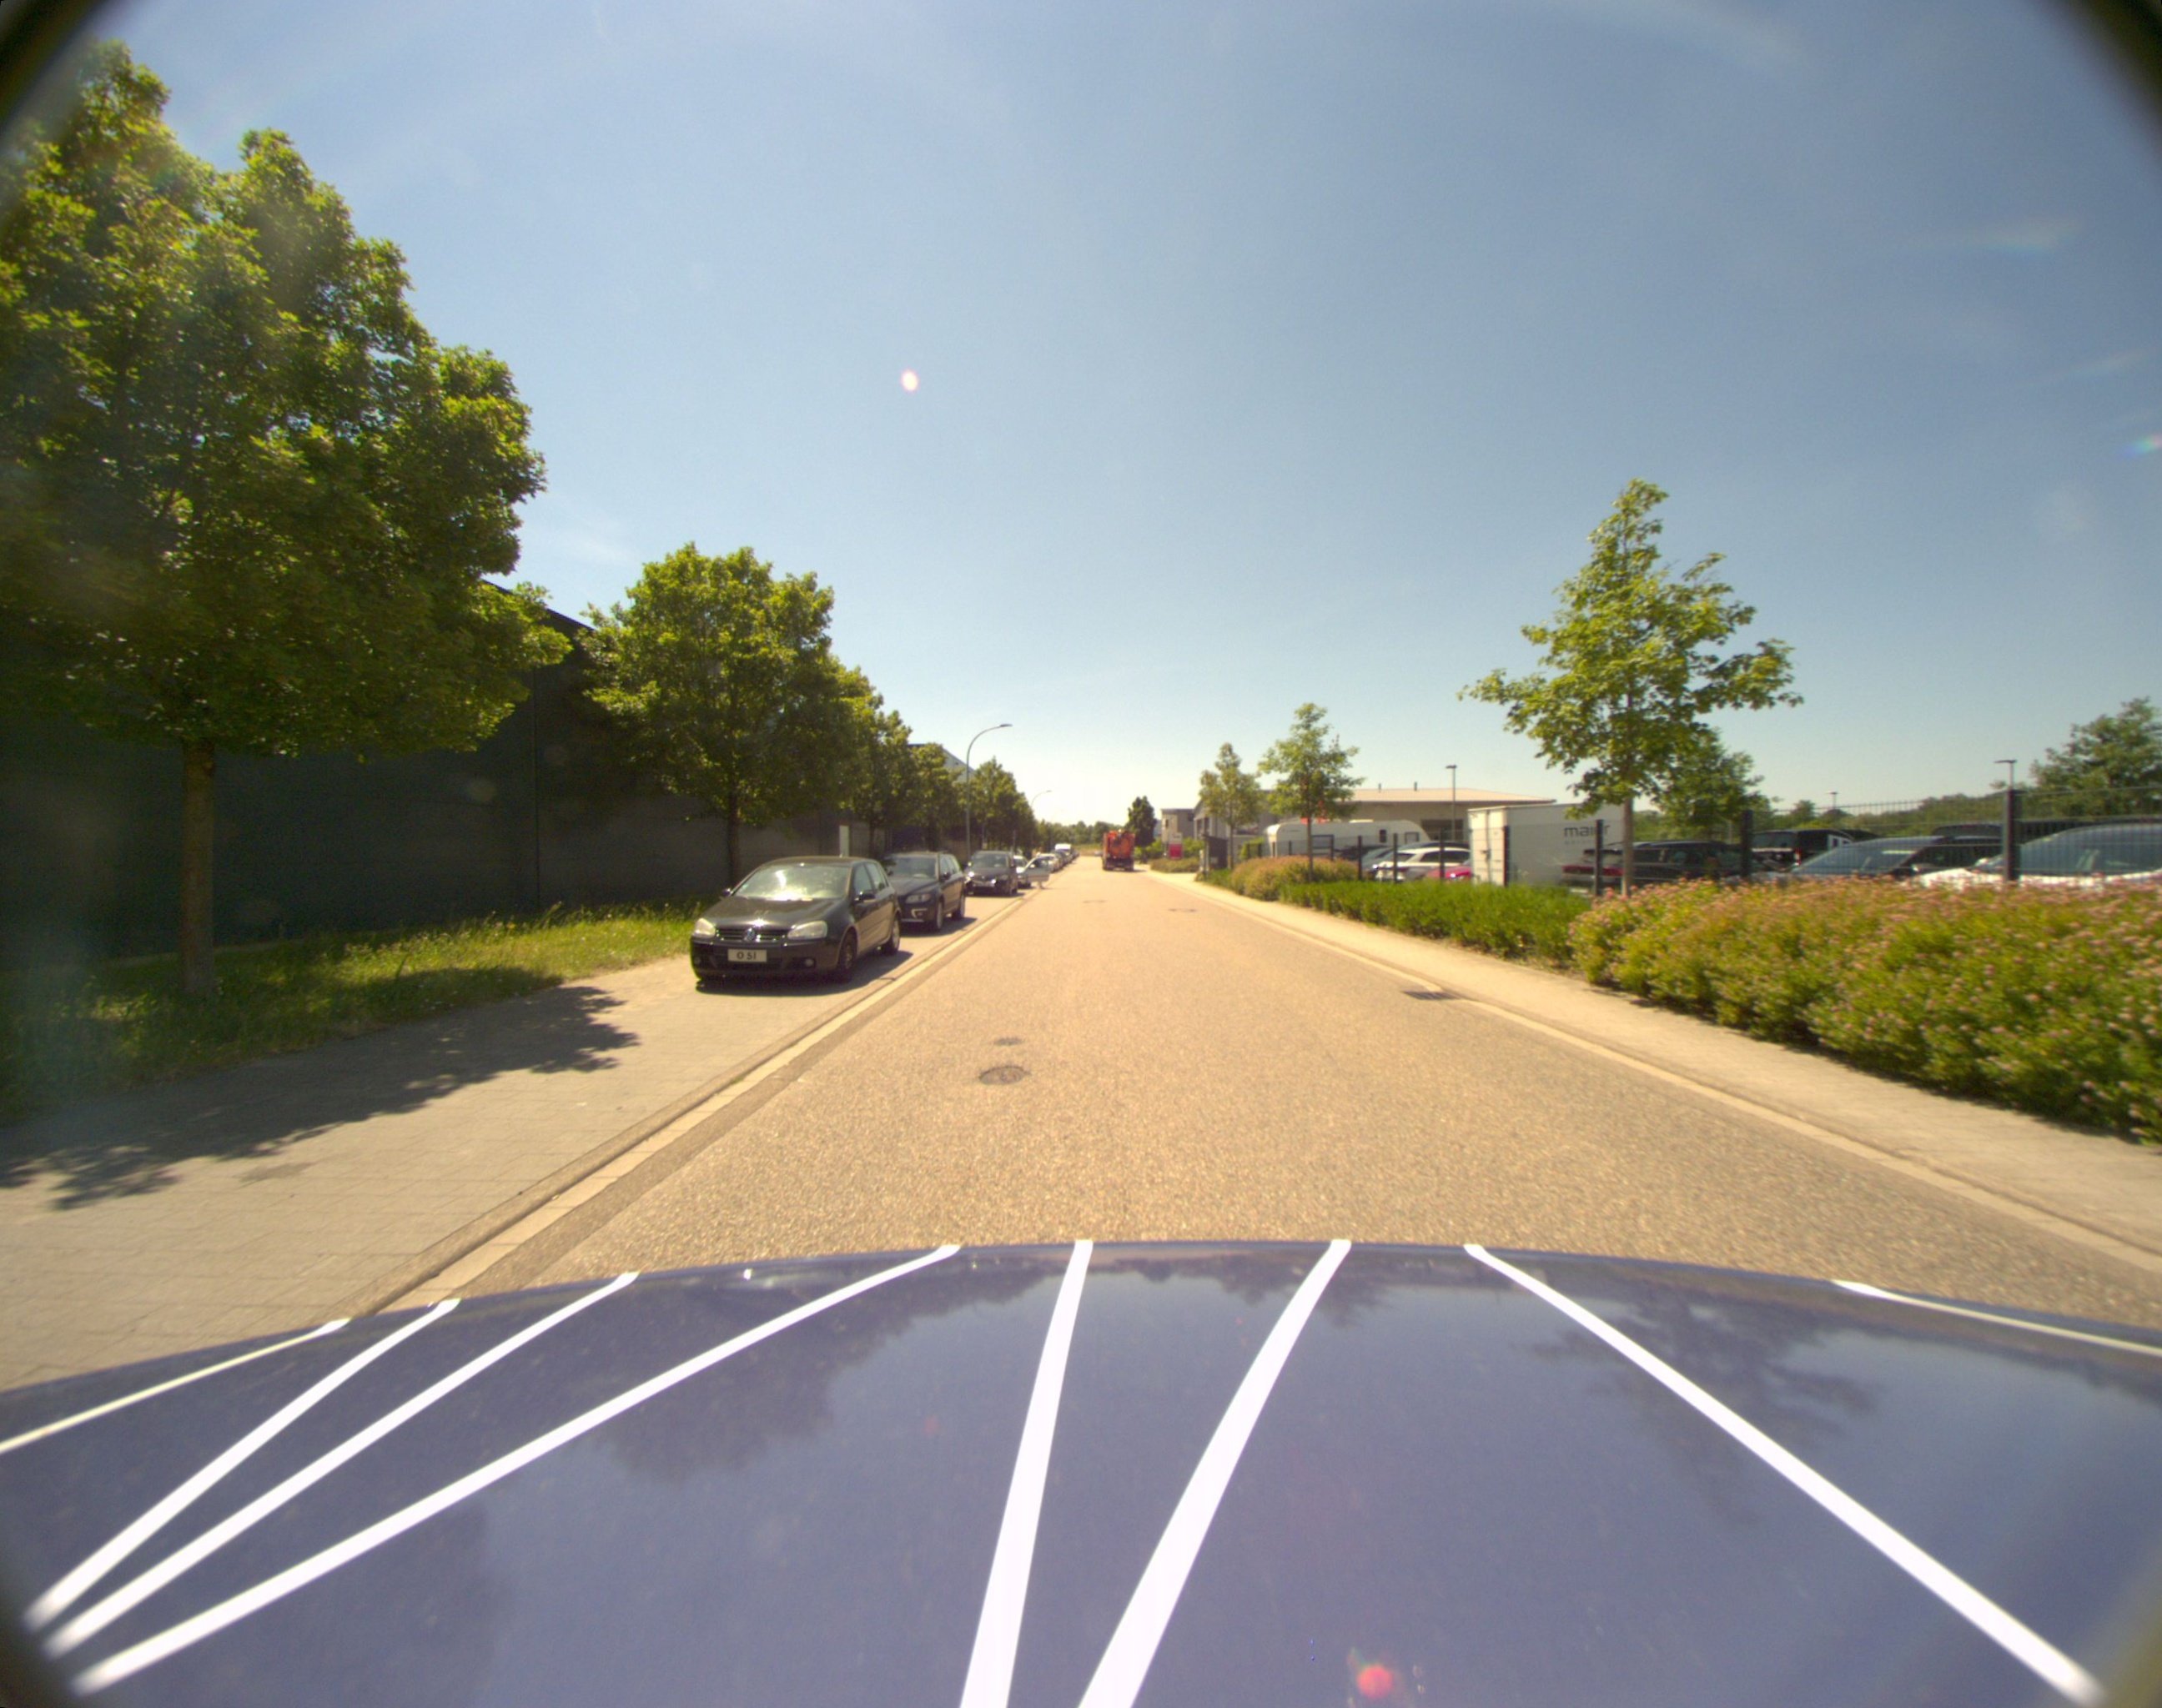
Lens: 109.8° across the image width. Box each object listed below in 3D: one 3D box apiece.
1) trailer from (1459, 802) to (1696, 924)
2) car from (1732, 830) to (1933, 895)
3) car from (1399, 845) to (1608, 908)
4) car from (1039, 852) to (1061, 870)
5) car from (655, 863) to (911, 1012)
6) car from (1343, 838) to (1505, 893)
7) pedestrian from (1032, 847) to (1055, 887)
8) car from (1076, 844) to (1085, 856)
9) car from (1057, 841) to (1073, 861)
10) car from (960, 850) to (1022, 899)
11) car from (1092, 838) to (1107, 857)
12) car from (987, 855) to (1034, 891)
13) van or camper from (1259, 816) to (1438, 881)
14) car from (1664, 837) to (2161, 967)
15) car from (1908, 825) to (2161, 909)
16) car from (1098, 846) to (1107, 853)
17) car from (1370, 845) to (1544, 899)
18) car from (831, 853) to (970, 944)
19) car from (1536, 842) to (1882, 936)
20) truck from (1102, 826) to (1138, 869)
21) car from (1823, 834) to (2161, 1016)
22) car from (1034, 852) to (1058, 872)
[{"bbox_3d":[10.657,0.173,16.478,3.998,2.346,1.726,-2,1,-2],"label":"trailer"},{"bbox_3d":[22.090,0.242,22.475,3.997,1.761,2.000,-1,1,-1],"label":"car"},{"bbox_3d":[10.642,0.535,19.360,4.217,1.444,2.000,-1,0,-1],"label":"car"},{"bbox_3d":[-2.636,0.593,65.126,1.736,1.501,3.844,0,0,0],"label":"car"},{"bbox_3d":[-3.594,0.901,10.081,1.696,1.468,4.268,1,0,0],"label":"car"},{"bbox_3d":[11.146,0.343,24.825,4.522,1.656,1.776,-1,1,-5],"label":"car"},{"bbox_3d":[-1.727,0.590,34.882,0.722,1.799,0.703,-2,1,-36],"label":"pedestrian"},{"bbox_3d":[-0.107,-0.975,177.061,2.060,2.682,4.834,0,0,0],"label":"car"},{"bbox_3d":[-2.055,-0.398,99.857,2.060,2.682,4.834,0,0,0],"label":"car"},{"bbox_3d":[-3.263,0.686,28.217,1.742,1.660,4.367,1,0,0],"label":"car"},{"bbox_3d":[3.258,-1.084,132.350,2.600,3.213,6.222,0,0,1],"label":"car"},{"bbox_3d":[-3.123,0.819,34.409,1.711,1.449,4.188,1,0,0],"label":"car"},{"bbox_3d":[11.342,-0.234,32.670,6.792,2.668,2.575,0,1,1],"label":"van or camper"},{"bbox_3d":[11.037,0.585,10.283,4.744,1.526,2.000,-1,1,1],"label":"car"},{"bbox_3d":[21.769,0.279,17.283,3.997,1.761,1.805,-1,1,-1],"label":"car"},{"bbox_3d":[5.356,-1.102,190.224,1.868,1.674,4.222,0,0,-2],"label":"car"},{"bbox_3d":[10.847,0.508,22.108,4.218,1.444,1.777,-1,1,-2],"label":"car"},{"bbox_3d":[-3.627,0.799,16.180,1.812,1.608,4.714,1,0,0],"label":"car"},{"bbox_3d":[11.101,0.585,13.710,4.558,1.526,2.000,-1,1,1],"label":"car"},{"bbox_3d":[3.364,-0.597,68.162,2.606,3.524,10.499,1,0,0],"label":"truck"},{"bbox_3d":[10.956,0.610,7.764,4.744,1.619,2.000,-1,1,1],"label":"car"},{"bbox_3d":[-2.764,0.626,60.043,1.736,1.501,3.665,1,0,0],"label":"car"}]
